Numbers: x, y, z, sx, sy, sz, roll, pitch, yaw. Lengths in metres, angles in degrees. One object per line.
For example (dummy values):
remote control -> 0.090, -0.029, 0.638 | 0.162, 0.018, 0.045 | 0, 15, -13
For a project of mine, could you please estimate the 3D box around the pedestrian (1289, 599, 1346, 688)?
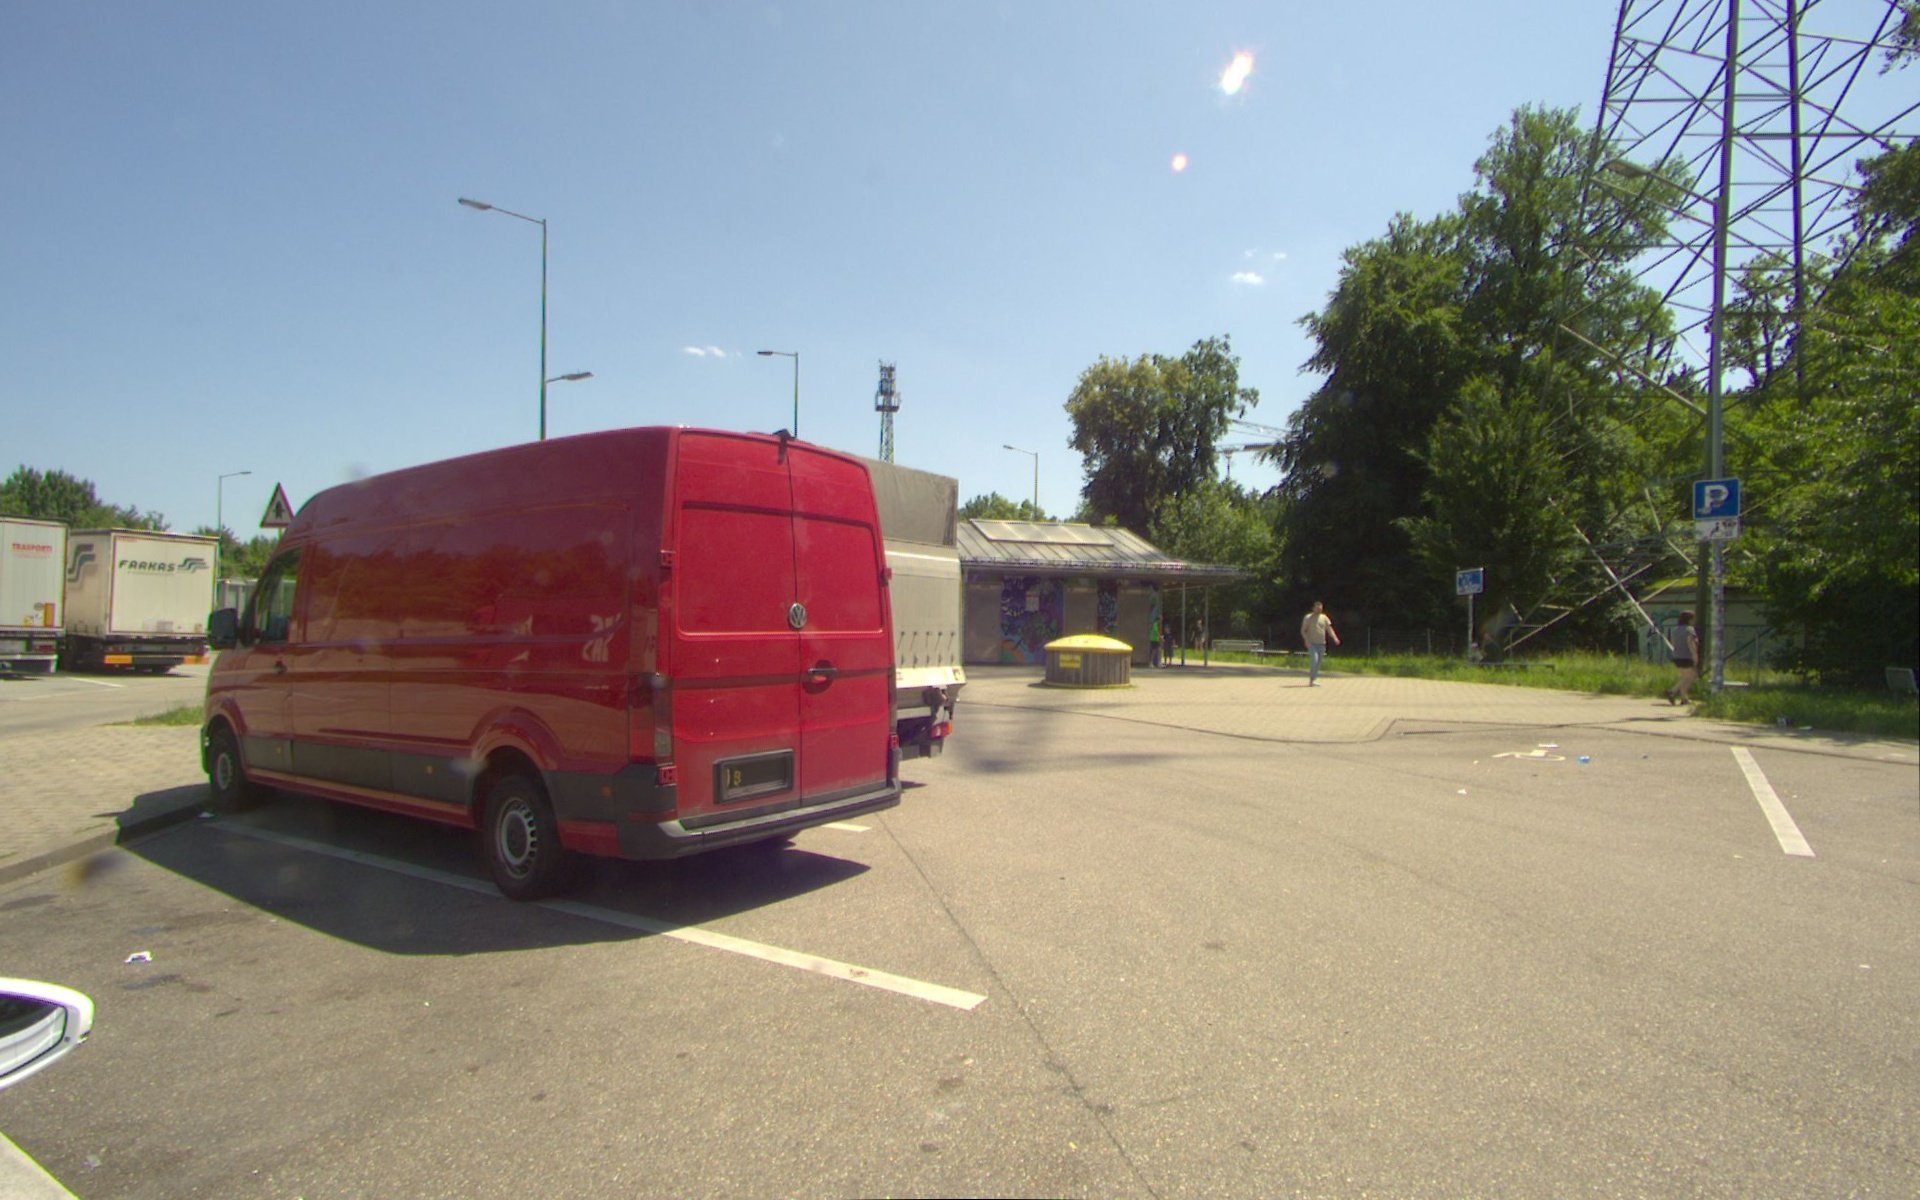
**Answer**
pedestrian -> 7.896, 0.957, 22.134 | 0.799, 1.929, 0.920 | 0, -1, -15

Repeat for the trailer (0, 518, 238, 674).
trailer -> -27.605, -0.159, 31.592 | 13.561, 4.162, 2.854 | 1, -2, 32

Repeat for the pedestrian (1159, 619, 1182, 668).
pedestrian -> 5.988, 1.237, 28.540 | 0.532, 1.392, 0.583 | 0, -1, 0

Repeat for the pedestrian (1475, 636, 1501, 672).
pedestrian -> 14.652, 1.503, 27.795 | 0.439, 0.987, 0.460 | 0, -1, -19

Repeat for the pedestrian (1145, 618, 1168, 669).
pedestrian -> 5.452, 1.205, 27.825 | 0.532, 1.392, 0.583 | 0, -1, 0

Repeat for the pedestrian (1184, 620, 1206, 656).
pedestrian -> 10.659, 1.716, 45.417 | 0.800, 1.639, 0.918 | -1, -1, 24

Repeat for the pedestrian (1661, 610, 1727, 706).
pedestrian -> 12.999, 1.020, 17.741 | 0.702, 1.670, 0.687 | 0, -1, 12

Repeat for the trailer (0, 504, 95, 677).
trailer -> -28.678, -0.333, 28.005 | 13.561, 4.162, 2.854 | 1, -2, 32

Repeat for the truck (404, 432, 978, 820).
truck -> -3.080, 0.279, 10.501 | 6.372, 2.944, 2.411 | -1, -2, 37

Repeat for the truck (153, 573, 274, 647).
truck -> -37.537, 0.488, 50.307 | 5.887, 3.406, 2.862 | 1, -2, 32

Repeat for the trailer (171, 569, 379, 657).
trailer -> -32.465, 0.497, 47.082 | 13.561, 3.646, 2.854 | 1, -2, 32

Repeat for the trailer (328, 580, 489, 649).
trailer -> -36.156, 0.862, 65.322 | 13.561, 3.955, 2.854 | 1, -2, 32

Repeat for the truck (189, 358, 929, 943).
truck -> -3.331, 0.306, 7.317 | 6.372, 2.685, 2.005 | -1, -2, 37
